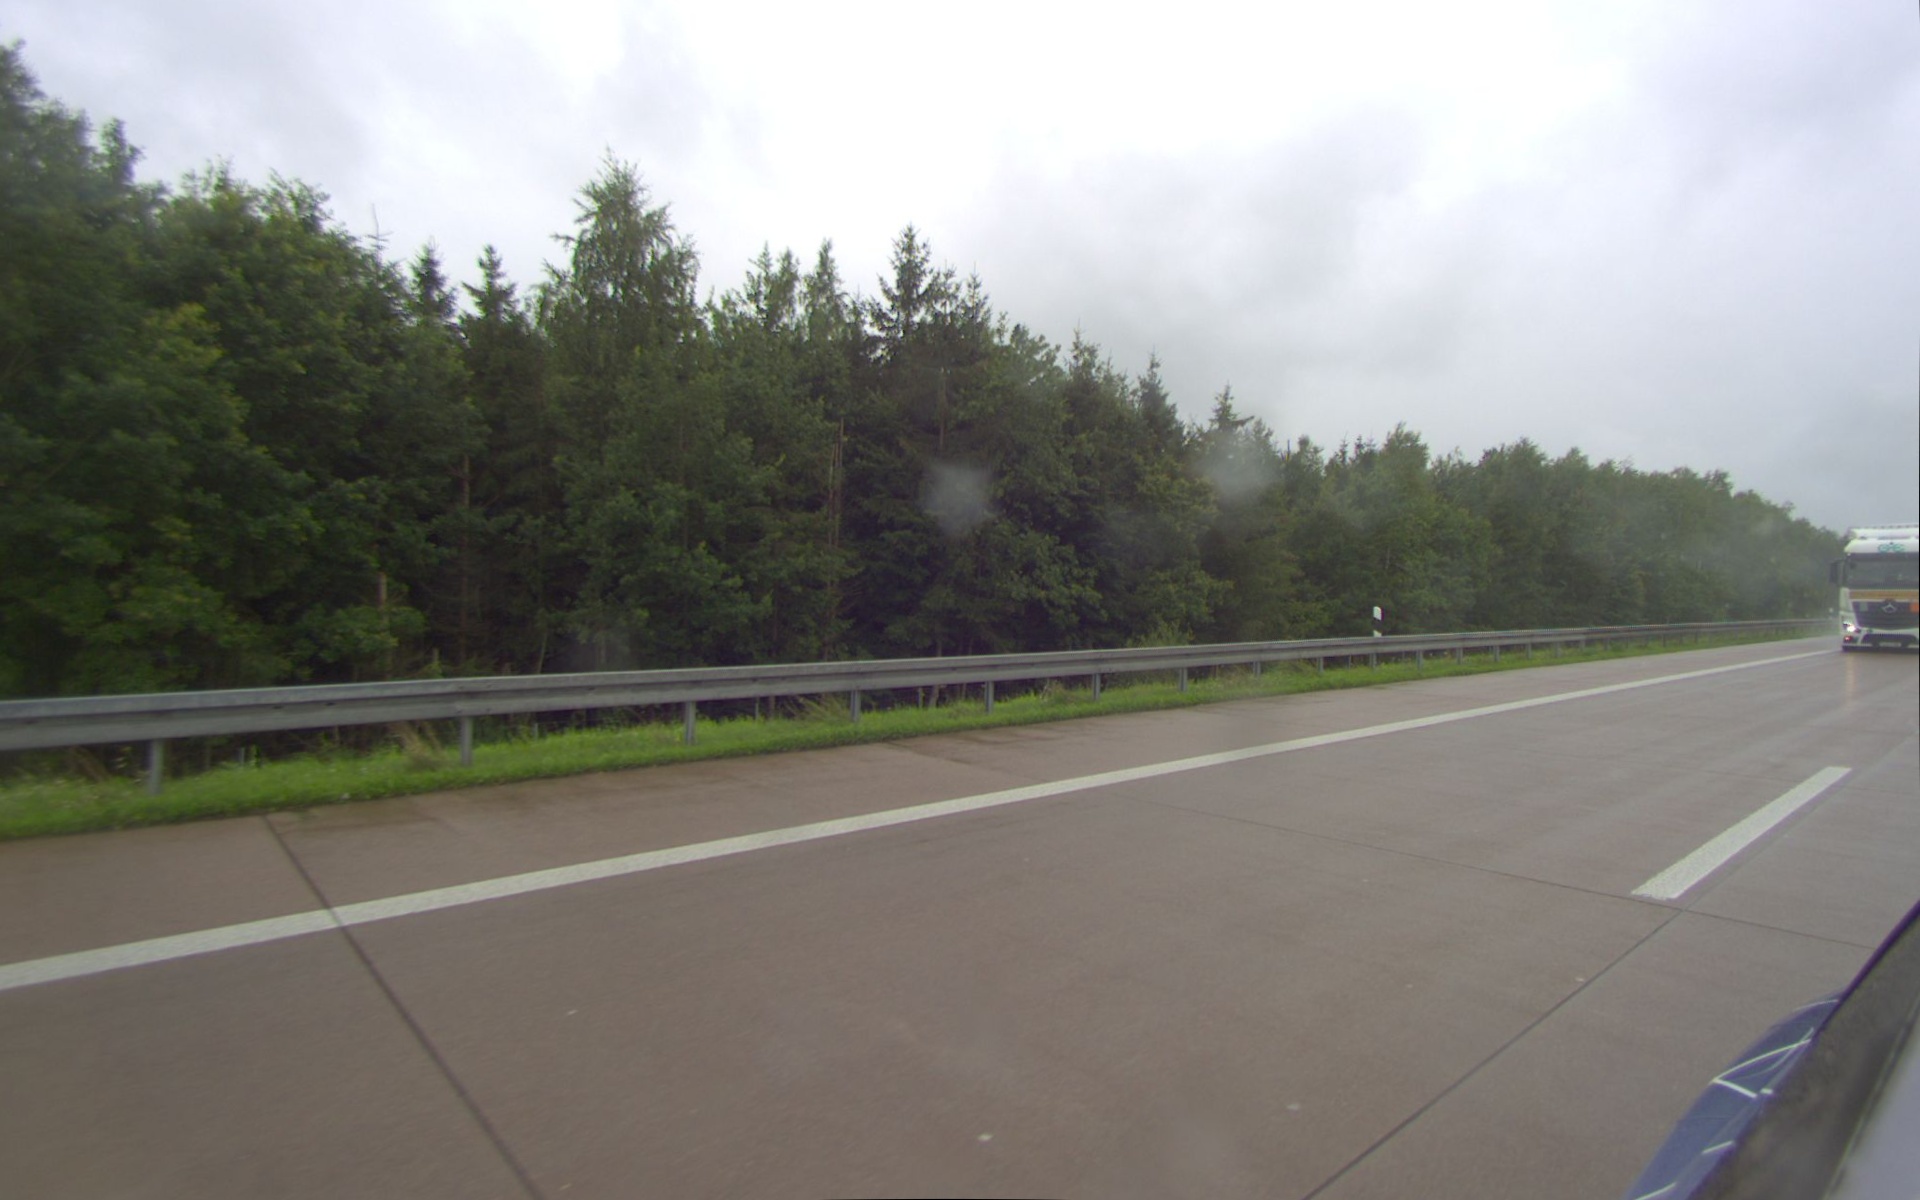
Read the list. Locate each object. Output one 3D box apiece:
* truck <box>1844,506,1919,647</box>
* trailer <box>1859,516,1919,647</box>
[{"bbox_3d":[30.389,-0.640,32.074,6.242,4.158,2.884,2,1,-44],"label":"truck"},{"bbox_3d":[36.011,-0.481,37.423,12.909,4.284,2.856,2,1,-43],"label":"trailer"}]
